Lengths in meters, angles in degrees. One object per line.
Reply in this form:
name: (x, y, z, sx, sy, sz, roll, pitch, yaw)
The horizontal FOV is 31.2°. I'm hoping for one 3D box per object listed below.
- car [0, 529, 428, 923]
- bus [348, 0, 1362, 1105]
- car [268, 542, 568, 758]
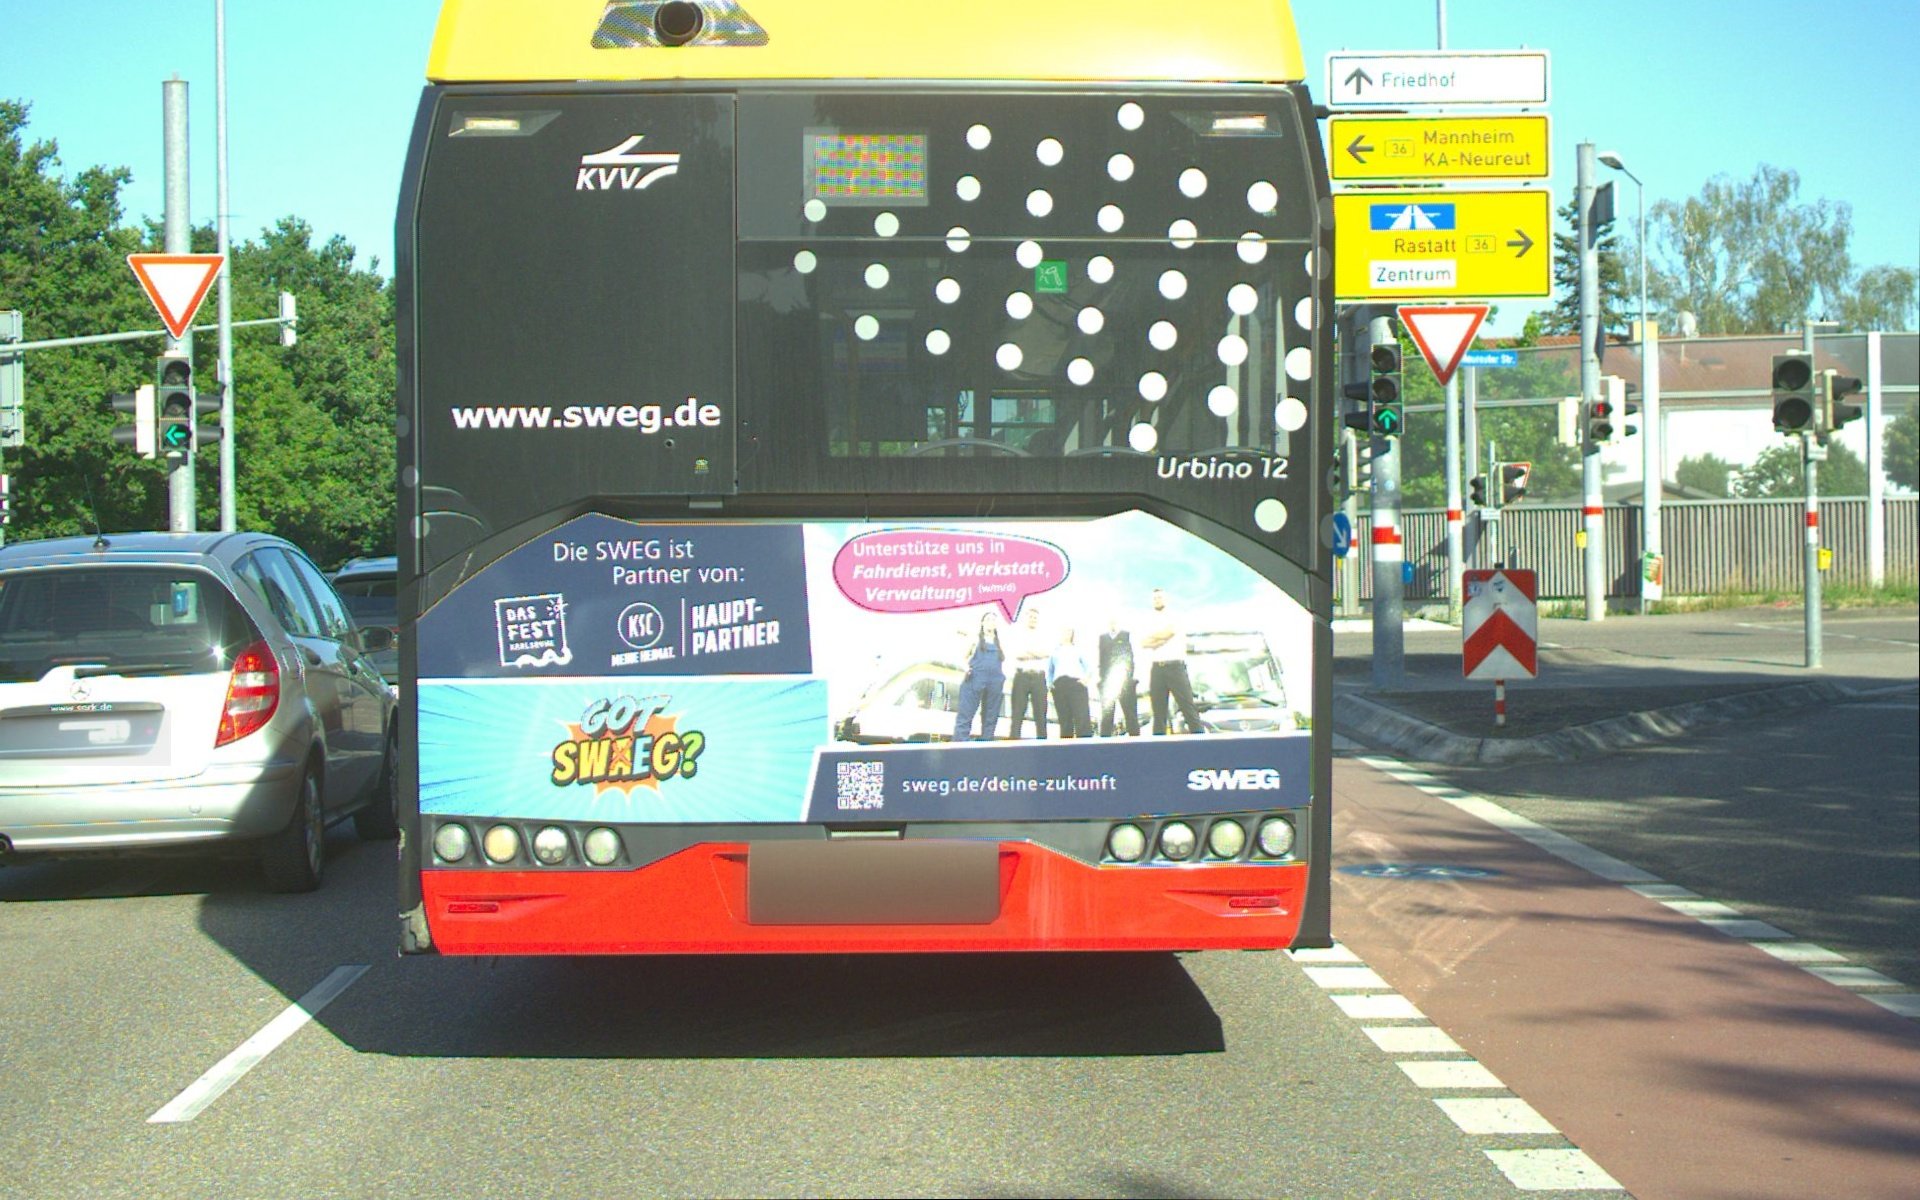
car: (-3.683, 0.495, 16.173, 1.761, 1.584, 4.000, -2, 1, -1)
bus: (-0.294, -0.394, 14.930, 2.642, 3.156, 11.861, 0, 1, 0)
car: (-4.017, 0.319, 26.001, 1.692, 1.453, 3.751, -2, 1, -1)
